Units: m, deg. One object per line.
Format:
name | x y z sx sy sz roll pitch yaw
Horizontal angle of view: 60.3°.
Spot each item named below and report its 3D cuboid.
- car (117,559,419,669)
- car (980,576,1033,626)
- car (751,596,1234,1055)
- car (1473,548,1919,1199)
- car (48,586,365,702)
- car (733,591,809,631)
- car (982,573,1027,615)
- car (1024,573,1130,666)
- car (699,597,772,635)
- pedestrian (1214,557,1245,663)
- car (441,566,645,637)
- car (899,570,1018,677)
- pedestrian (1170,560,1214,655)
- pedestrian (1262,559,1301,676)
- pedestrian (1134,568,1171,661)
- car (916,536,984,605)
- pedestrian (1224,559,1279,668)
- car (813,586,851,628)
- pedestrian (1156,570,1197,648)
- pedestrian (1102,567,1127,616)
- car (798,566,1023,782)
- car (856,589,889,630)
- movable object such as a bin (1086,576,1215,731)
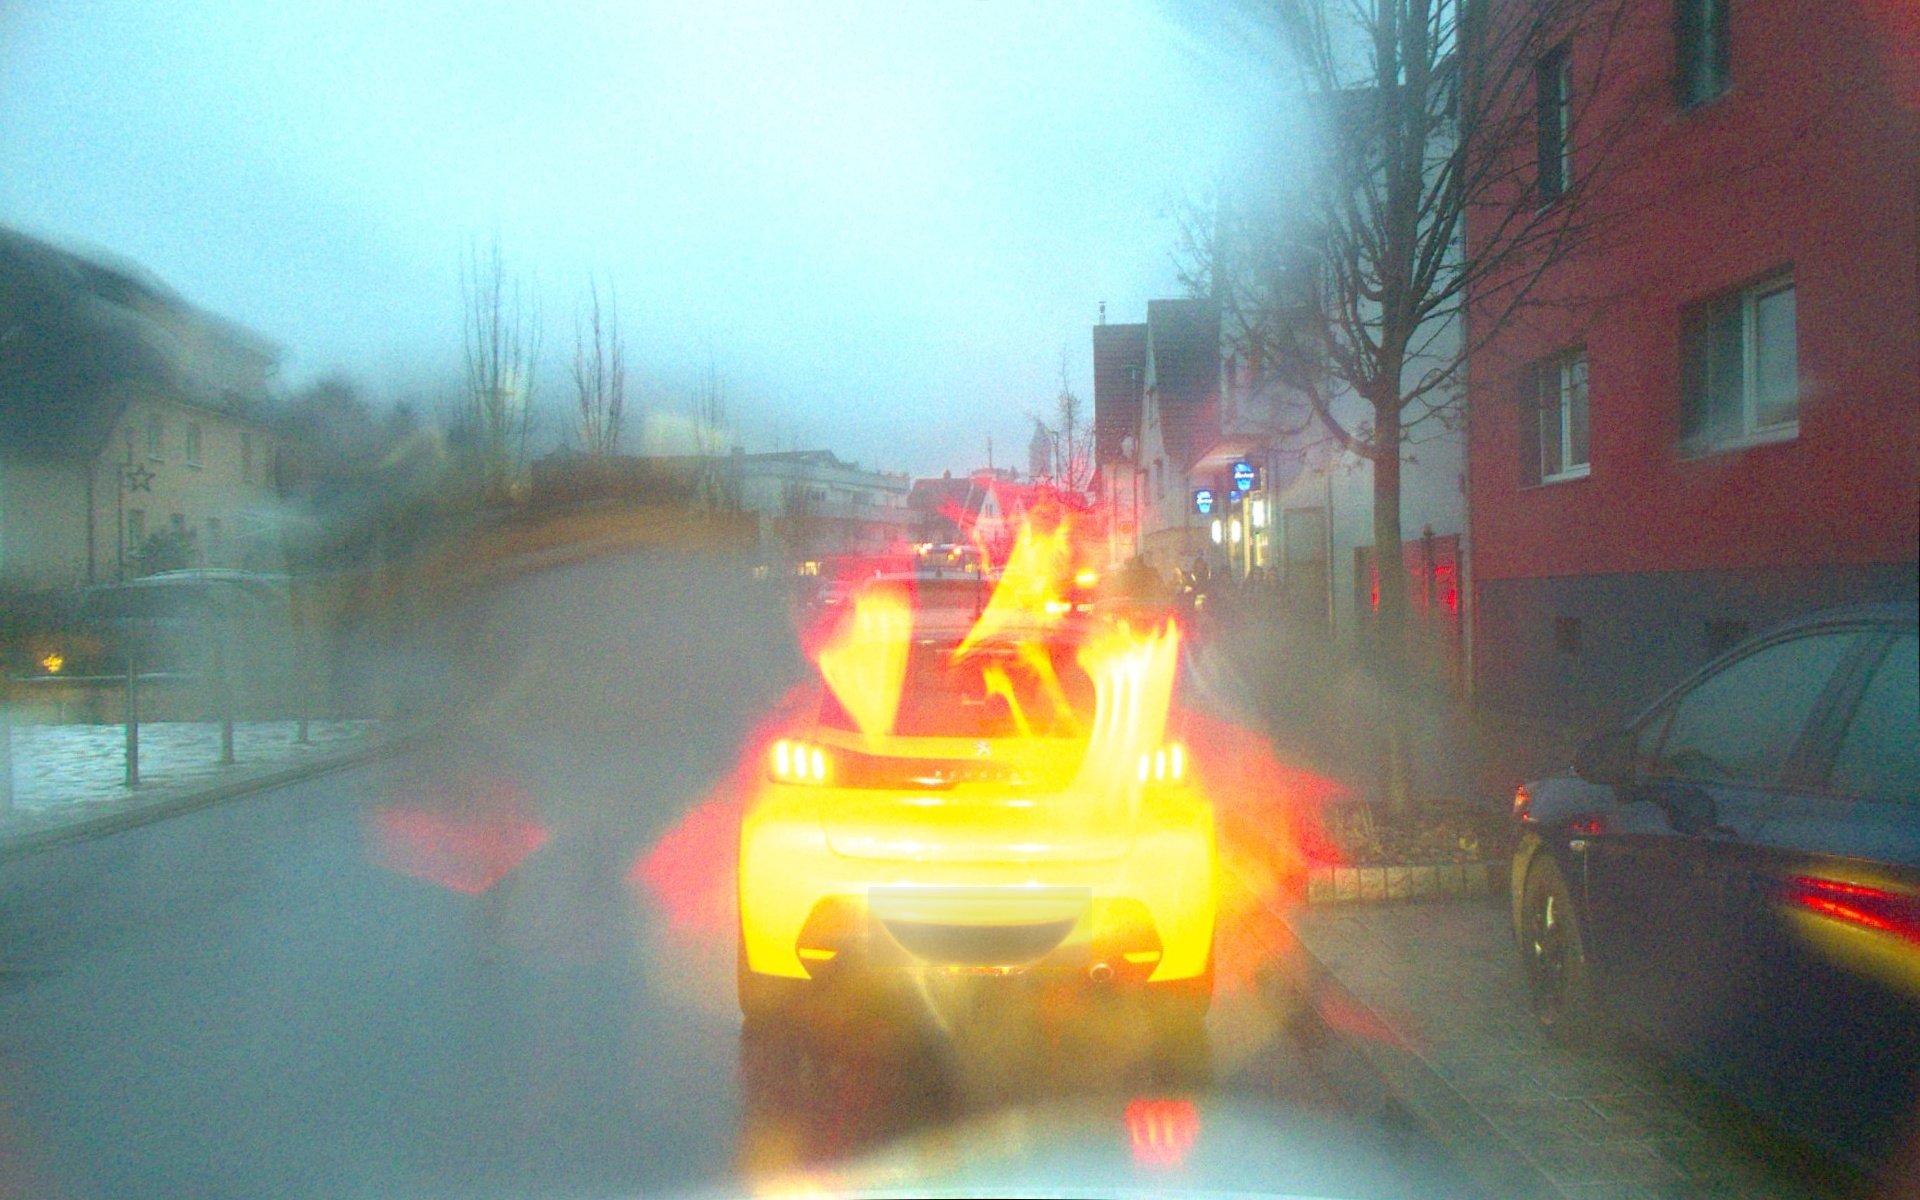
car | -10.112 0.202 24.325 3.713 1.549 1.716 0 0 6
car | 1.796 0.039 65.255 1.957 1.897 4.082 0 0 0
car | 0.090 0.721 6.815 1.531 1.437 3.017 1 0 -1
car | 2.756 0.630 4.082 1.693 1.490 4.200 -3 1 1
car | -9.755 0.550 21.594 3.375 1.396 1.600 -1 0 -2
car | -10.829 0.666 94.648 4.310 2.204 1.987 -1 -3 44
car | 2.046 -0.248 77.178 1.957 1.897 4.082 0 0 0
car | 2.286 0.363 33.302 1.700 1.722 4.385 -1 0 -1
car | -12.385 0.873 91.064 4.097 2.011 1.810 -1 -3 44
pedestrian | 4.733 0.165 29.067 0.517 1.832 0.865 0 1 9
car | -10.170 0.040 40.640 4.533 1.697 1.999 0 0 -3
car | -0.038 0.288 22.845 1.510 1.355 3.311 1 1 -1
pedestrian | 4.362 0.128 31.093 0.697 1.745 1.035 -2 1 13
pedestrian | 4.707 0.267 24.243 0.517 1.682 0.954 0 -2 9
pedestrian | 3.672 0.275 31.595 0.561 1.729 0.653 -2 0 1
car | -0.574 -1.420 82.731 3.127 3.085 6.301 1 -2 -3
pedestrian | 4.758 0.223 27.060 0.731 1.708 1.052 -2 -1 5
car | -6.766 0.393 87.758 1.881 2.063 3.972 1 -2 -3
pedestrian | 4.676 0.187 35.780 0.608 1.655 0.903 -1 2 -14
pedestrian | 4.930 -0.292 52.796 0.608 1.542 0.731 -1 2 -14
car | -0.409 0.557 14.643 1.730 1.657 3.585 1 1 -1
car | -5.063 0.574 95.931 1.881 2.254 3.972 1 -2 -3
movable object such as a bin | 1.925 0.513 16.962 1.106 1.445 1.418 -4 1 1
